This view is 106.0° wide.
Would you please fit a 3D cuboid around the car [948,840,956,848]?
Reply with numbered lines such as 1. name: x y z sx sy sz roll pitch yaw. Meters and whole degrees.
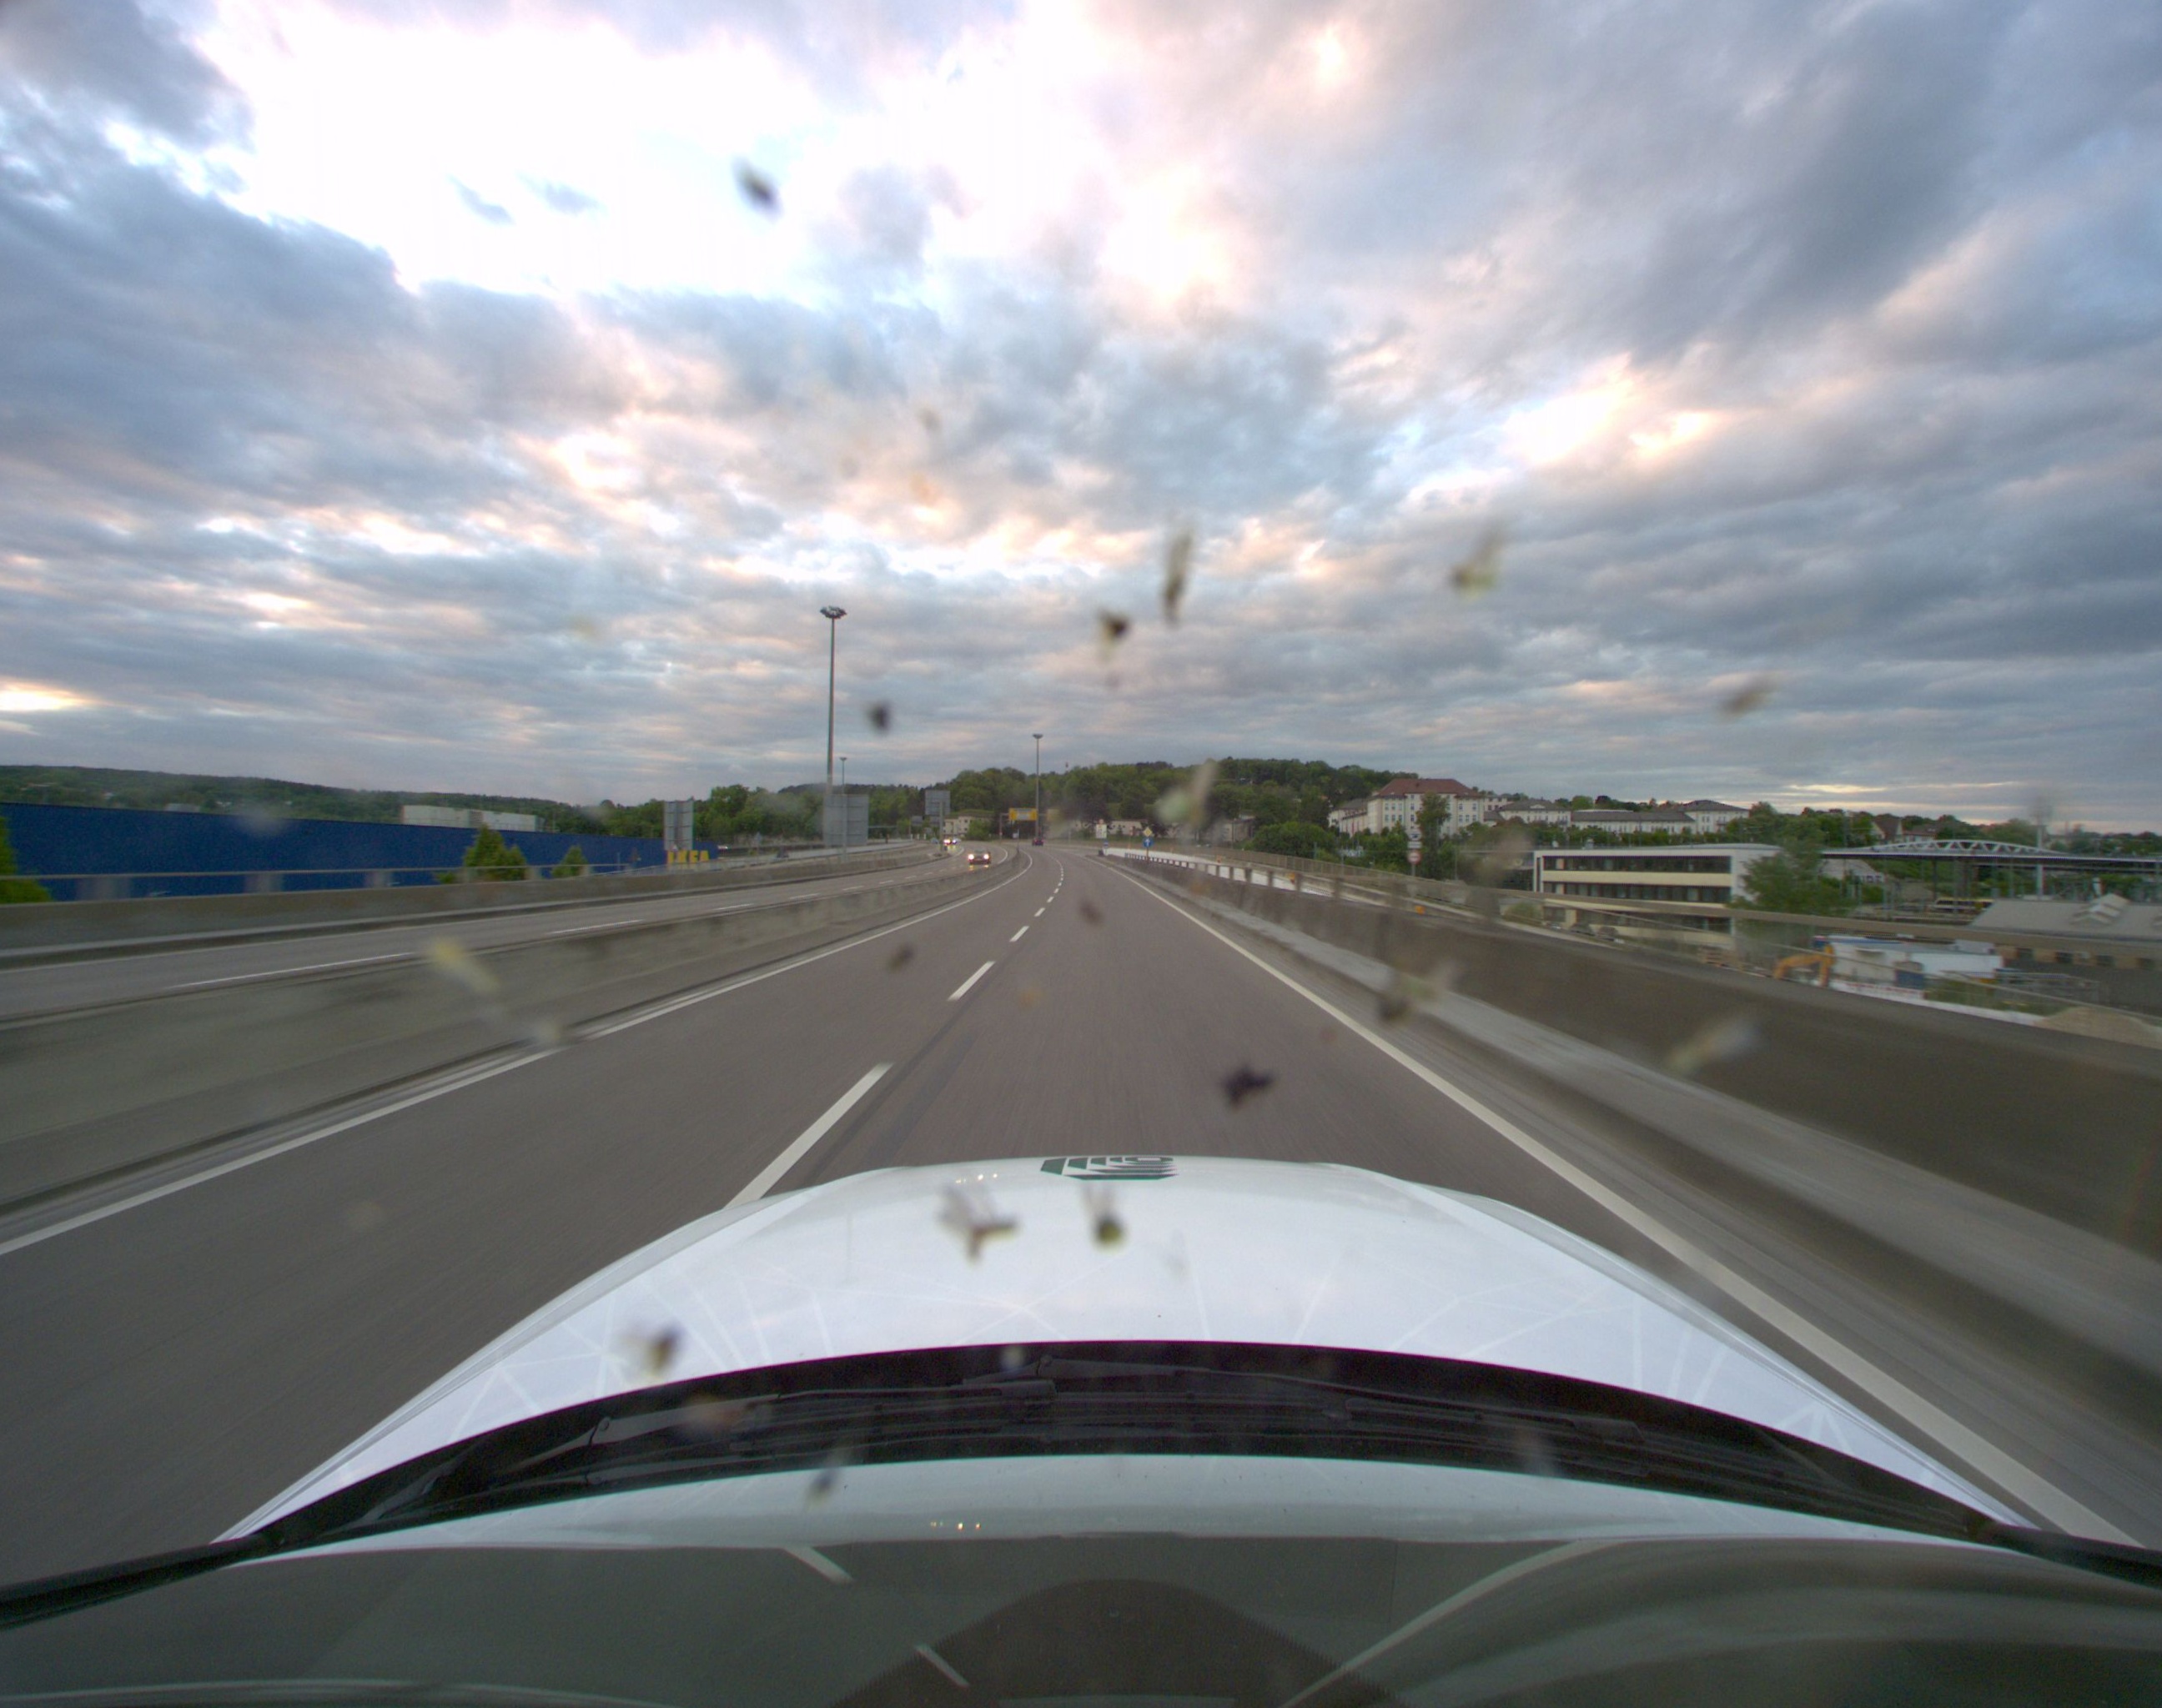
1. car: -30.039 -2.292 189.836 1.637 1.717 3.986 -5 1 -10

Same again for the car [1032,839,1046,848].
1. car: -9.158 -2.327 176.958 2.308 1.763 4.241 1 1 -15

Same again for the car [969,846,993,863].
1. car: -9.001 0.054 73.729 1.824 1.480 4.283 0 0 -2

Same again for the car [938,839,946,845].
1. car: -35.718 -3.018 209.445 1.798 1.486 3.824 0 0 -13

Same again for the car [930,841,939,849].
1. car: -41.019 -2.626 228.052 1.995 2.013 3.985 6 1 -12
